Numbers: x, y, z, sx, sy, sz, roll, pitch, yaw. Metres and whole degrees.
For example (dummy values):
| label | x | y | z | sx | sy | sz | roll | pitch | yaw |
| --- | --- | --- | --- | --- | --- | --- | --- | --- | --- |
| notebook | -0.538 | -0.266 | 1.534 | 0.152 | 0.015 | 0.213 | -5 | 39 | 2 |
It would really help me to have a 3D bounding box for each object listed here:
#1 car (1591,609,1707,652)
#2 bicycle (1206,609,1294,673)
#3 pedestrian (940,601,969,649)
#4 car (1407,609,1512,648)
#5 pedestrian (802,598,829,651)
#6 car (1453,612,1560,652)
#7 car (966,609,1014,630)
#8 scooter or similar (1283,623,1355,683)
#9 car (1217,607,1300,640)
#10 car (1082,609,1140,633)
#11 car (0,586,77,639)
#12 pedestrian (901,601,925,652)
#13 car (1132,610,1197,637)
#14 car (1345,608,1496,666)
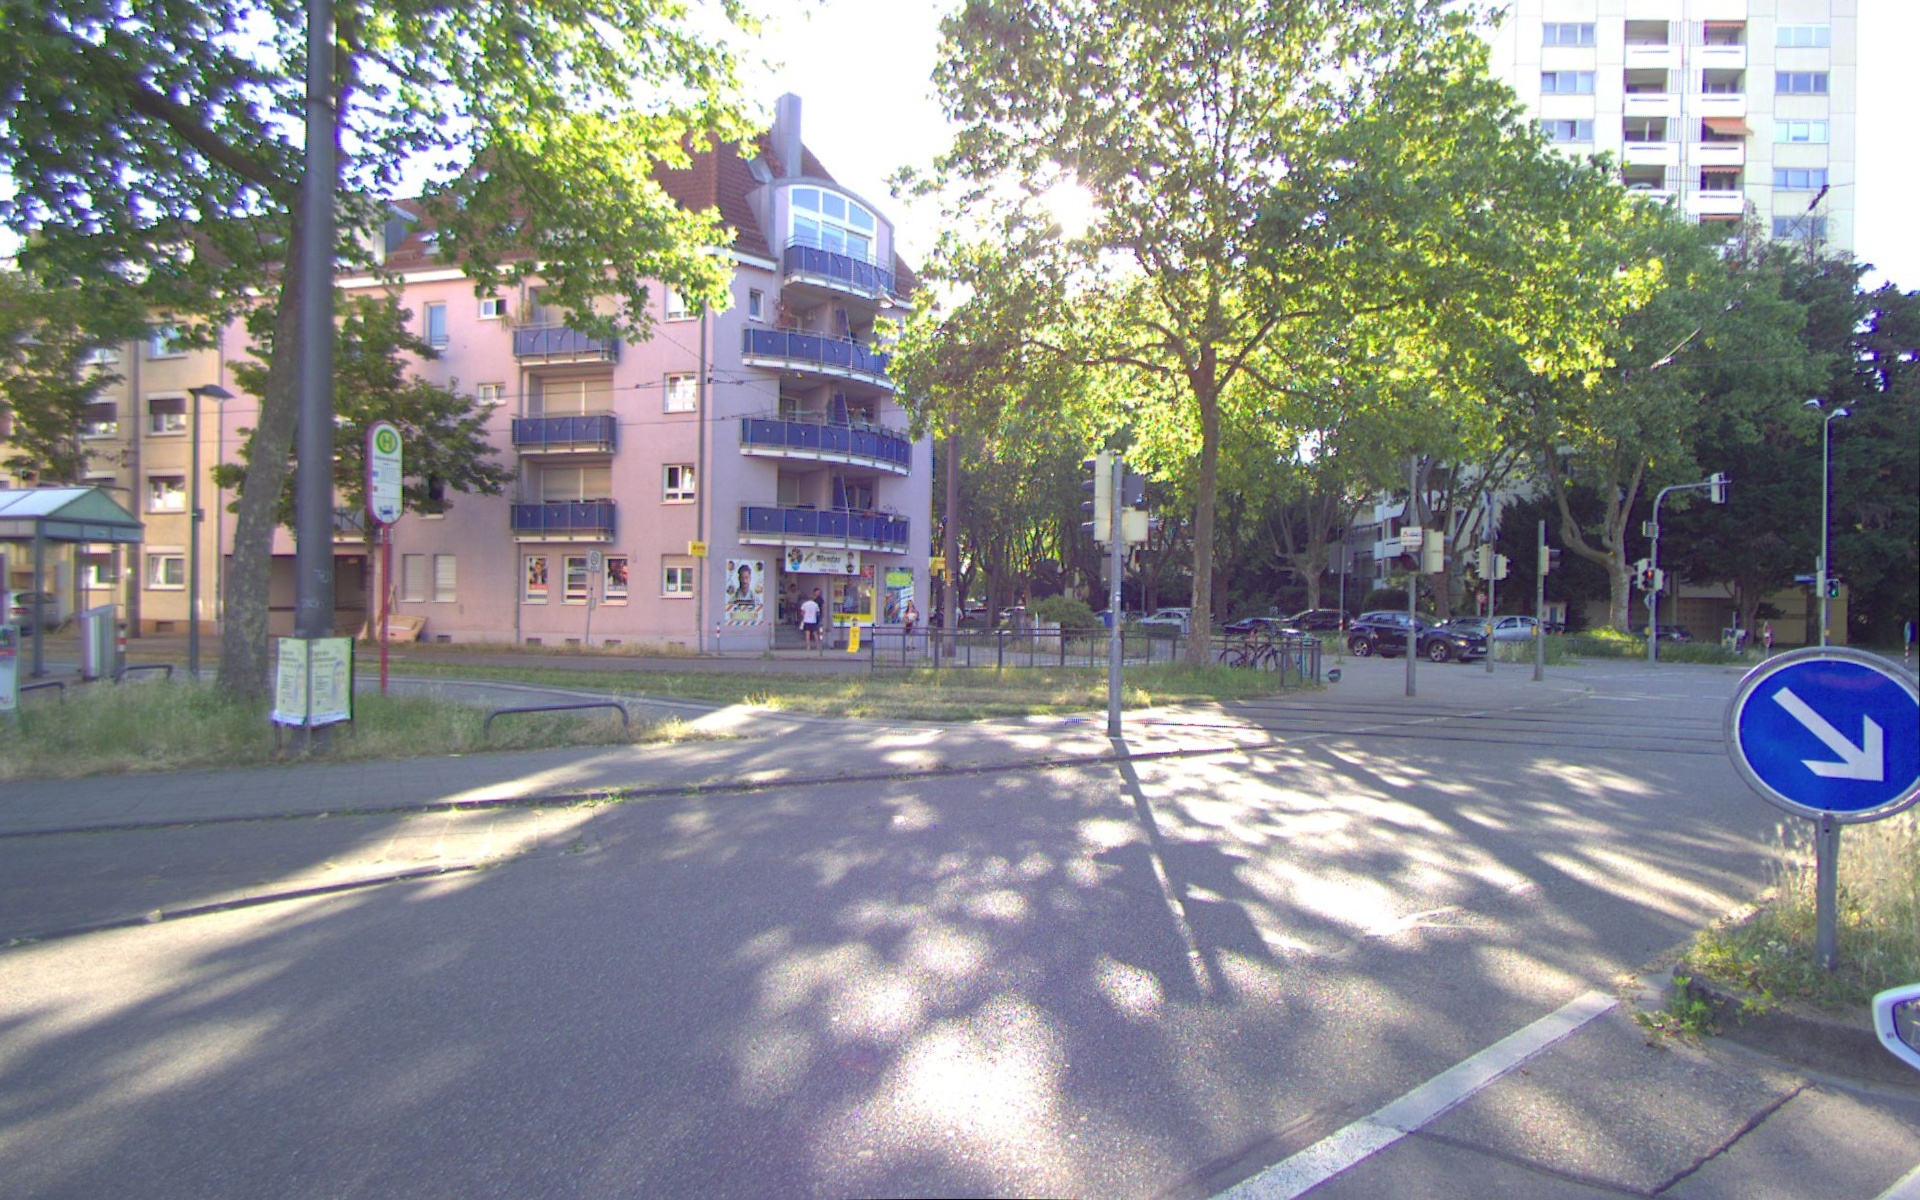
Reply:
| label | x | y | z | sx | sy | sz | roll | pitch | yaw |
| --- | --- | --- | --- | --- | --- | --- | --- | --- | --- |
| car | 31.618 | 1.358 | 46.201 | 1.971 | 1.798 | 3.979 | 2 | 0 | -22 |
| bicycle | 6.398 | 0.898 | 22.244 | 1.811 | 1.324 | 0.382 | 2 | 0 | 34 |
| pedestrian | -0.209 | 0.912 | 36.840 | 0.907 | 1.689 | 0.620 | 2 | 0 | 11 |
| car | 22.838 | 1.298 | 46.032 | 3.921 | 1.617 | 1.738 | 2 | 0 | 0 |
| pedestrian | -4.705 | 0.797 | 32.688 | 0.610 | 1.689 | 0.549 | 2 | 0 | 38 |
| car | 23.878 | 1.390 | 43.981 | 3.732 | 1.617 | 1.738 | 2 | 0 | 0 |
| car | 2.603 | 1.669 | 86.364 | 3.919 | 1.617 | 1.739 | 2 | 0 | 9 |
| scooter or similar | 7.920 | 1.160 | 22.202 | 1.412 | 1.255 | 0.414 | 2 | 0 | 9 |
| car | 15.909 | 1.240 | 53.680 | 3.921 | 1.617 | 1.738 | 2 | 0 | 0 |
| car | 11.079 | 1.524 | 73.896 | 3.921 | 1.617 | 1.738 | 2 | 0 | 0 |
| car | -33.481 | 0.391 | 35.214 | 4.029 | 1.728 | 1.940 | 2 | 0 | 16 |
| pedestrian | -1.583 | 0.895 | 33.819 | 0.541 | 1.689 | 0.619 | 2 | 0 | 25 |
| car | 13.398 | 1.552 | 65.982 | 3.921 | 1.617 | 1.738 | 2 | 0 | 0 |
| car | 14.321 | 1.110 | 31.434 | 1.722 | 1.617 | 3.959 | 2 | 0 | -36 |
